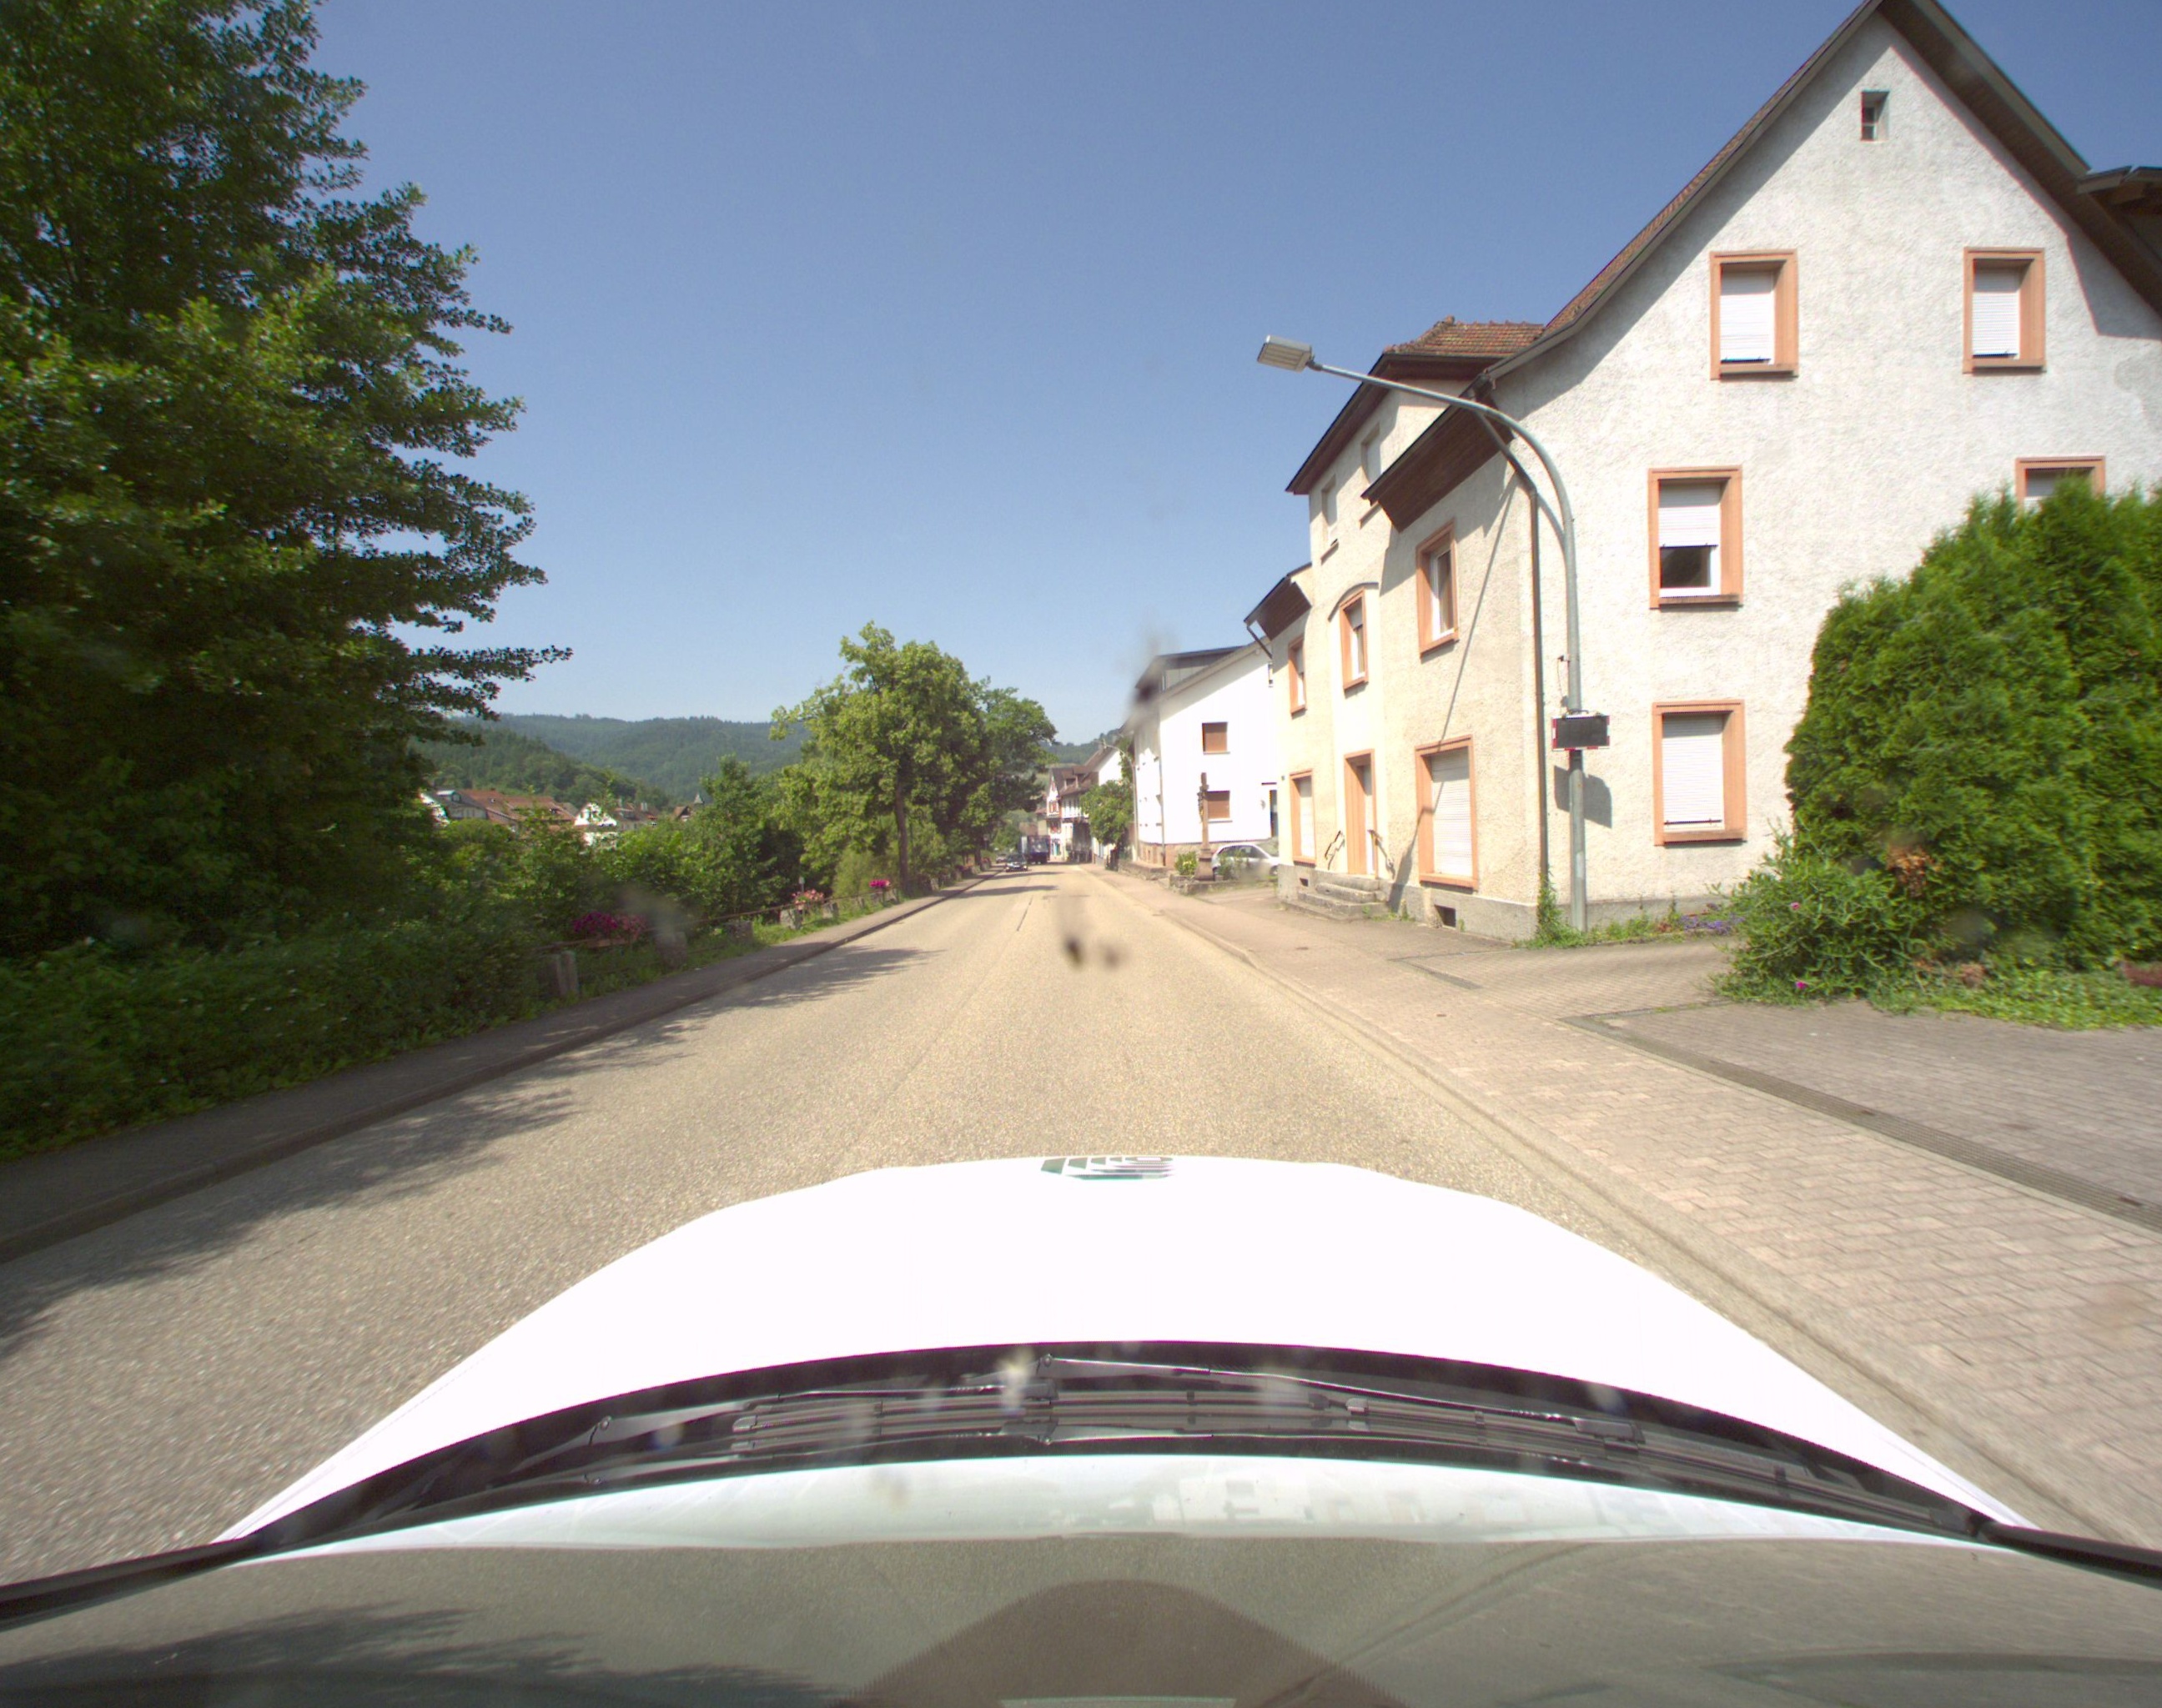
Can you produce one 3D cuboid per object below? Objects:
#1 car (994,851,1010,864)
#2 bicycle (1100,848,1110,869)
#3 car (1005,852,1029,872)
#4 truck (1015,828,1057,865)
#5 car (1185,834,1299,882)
[{"bbox_3d":[-12.478,0.518,128.481,1.776,1.734,3.982,-6,-1,-13],"label":"car"},{"bbox_3d":[1.620,0.302,55.836,0.424,1.396,2.275,-6,1,-2],"label":"bicycle"},{"bbox_3d":[-5.154,0.622,66.300,1.662,1.418,4.083,-4,0,-2],"label":"car"},{"bbox_3d":[-5.486,-0.802,98.043,3.368,3.782,8.400,-6,-1,-13],"label":"truck"},{"bbox_3d":[5.909,0.170,30.045,3.728,1.427,1.620,-5,0,43],"label":"car"}]
